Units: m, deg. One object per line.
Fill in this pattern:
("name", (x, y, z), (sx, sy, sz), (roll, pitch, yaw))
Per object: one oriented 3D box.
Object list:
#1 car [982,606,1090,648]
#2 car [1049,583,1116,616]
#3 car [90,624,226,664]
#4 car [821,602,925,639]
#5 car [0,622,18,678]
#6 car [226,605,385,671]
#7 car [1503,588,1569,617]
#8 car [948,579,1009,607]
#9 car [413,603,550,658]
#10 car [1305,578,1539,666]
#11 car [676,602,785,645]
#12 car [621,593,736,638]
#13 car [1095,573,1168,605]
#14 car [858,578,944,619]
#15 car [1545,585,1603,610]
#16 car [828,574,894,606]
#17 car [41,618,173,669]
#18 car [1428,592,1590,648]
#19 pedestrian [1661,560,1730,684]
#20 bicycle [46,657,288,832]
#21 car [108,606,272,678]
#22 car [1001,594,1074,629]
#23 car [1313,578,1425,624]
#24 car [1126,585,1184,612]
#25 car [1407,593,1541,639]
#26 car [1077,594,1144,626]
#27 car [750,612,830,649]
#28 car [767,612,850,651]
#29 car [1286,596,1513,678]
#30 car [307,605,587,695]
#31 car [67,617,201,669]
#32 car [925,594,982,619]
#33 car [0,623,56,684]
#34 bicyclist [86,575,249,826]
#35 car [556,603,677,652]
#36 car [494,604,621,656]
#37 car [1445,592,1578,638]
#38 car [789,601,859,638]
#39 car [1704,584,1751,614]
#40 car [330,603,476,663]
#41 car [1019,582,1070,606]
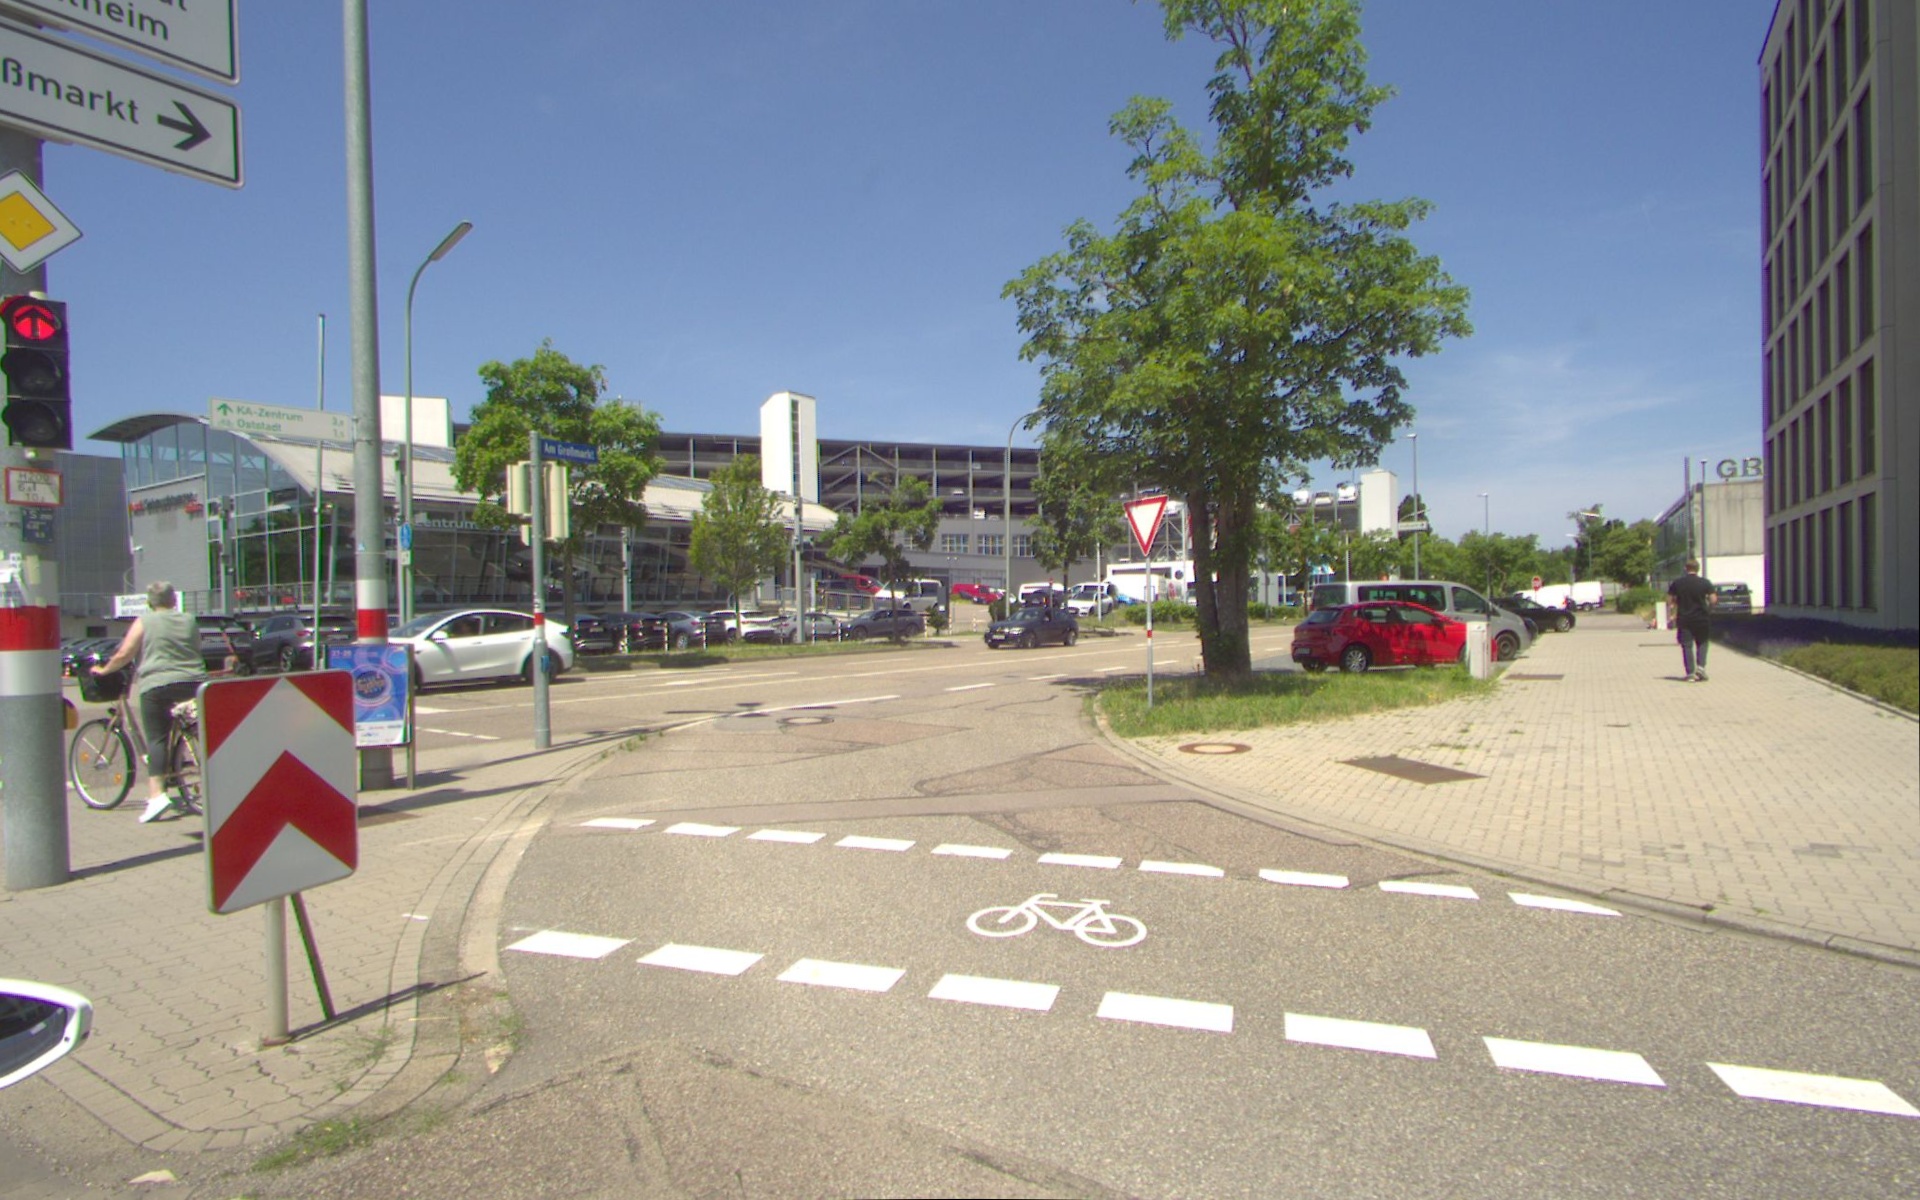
("car", (2.776, 0.923, 35.795), (1.653, 1.429, 4.200), (0, 0, 42))
("car", (7.986, -0.017, 65.238), (3.943, 2.040, 1.840), (-1, 0, 32))
("car", (-33.095, 1.764, 41.415), (1.694, 1.480, 4.083), (0, 0, 33))
("car", (-4.118, 0.937, 47.723), (4.702, 1.662, 1.821), (-1, 1, -35))
("car", (-27.547, 1.374, 25.600), (1.973, 1.476, 4.729), (-2, -1, 34))
("car", (-18.103, 0.991, 27.656), (4.492, 1.661, 1.989), (-1, 0, 32))
("car", (41.701, 0.186, 72.489), (3.949, 2.040, 1.986), (-1, 0, 37))
("car", (1.454, -0.542, 77.871), (4.286, 2.040, 1.990), (-1, 0, 30))
("car", (-15.383, 0.944, 32.159), (4.460, 1.662, 1.881), (-1, 1, 32))
("car", (10.742, 0.492, 23.377), (4.814, 1.839, 1.704), (-2, 0, -10))
("car", (-9.497, 0.940, 41.293), (4.410, 1.662, 1.823), (-1, 1, 32))
("car", (-11.020, 0.581, 39.132), (4.410, 1.662, 1.823), (-1, 1, 32))
("car", (11.804, -0.732, 69.015), (4.578, 2.040, 1.989), (-1, 0, 32))
("car", (-3.108, -0.076, 53.690), (1.972, 2.040, 5.117), (-1, 0, 32))
("car", (55.313, -0.227, 90.223), (4.304, 2.149, 2.080), (-1, 0, 36))
("car", (-6.647, -0.650, 67.291), (3.937, 2.040, 1.992), (-1, 0, 27))
("car", (-37.446, 1.864, 44.046), (1.972, 2.040, 3.977), (-1, 0, 33))
("car", (16.007, 0.568, 29.274), (3.924, 1.483, 1.718), (-1, 0, -8))
("pedestrian", (11.470, 0.338, 15.607), (0.764, 1.869, 0.861), (-2, 0, 40))
("bicycle", (-6.092, 1.037, 7.677), (1.891, 1.142, 0.786), (0, 0, 29))
("car", (-19.604, 1.012, 25.469), (4.207, 1.661, 1.989), (-1, 0, 32))
("car", (4.702, 0.695, 60.575), (3.943, 2.040, 1.989), (-1, 0, 32))
("car", (23.248, 0.060, 57.017), (5.691, 2.567, 2.101), (0, 0, -10))
("car", (15.269, -0.100, 78.435), (3.945, 2.040, 1.988), (-1, 0, 34))
("car", (18.139, 0.555, 35.425), (3.923, 1.483, 1.719), (-1, 0, -6))
("car", (10.033, 0.689, 66.847), (3.943, 2.040, 1.989), (-1, 0, 32))
("car", (-8.735, 1.536, 51.551), (3.712, 1.795, 1.761), (-1, 0, -28))
("car", (-7.449, 1.508, 49.278), (3.660, 1.801, 1.739), (-1, 0, -31))
("car", (8.795, 0.716, 20.177), (3.924, 1.454, 1.609), (-2, 0, -8))
("car", (-10.197, 0.906, 20.248), (1.975, 1.609, 4.662), (-1, 0, 38))
("car", (-35.069, 1.777, 42.613), (1.972, 2.040, 3.977), (-1, 0, 33))
("car", (-0.499, 0.506, 74.230), (3.943, 1.810, 1.730), (-1, 0, 32))
("car", (-25.232, 1.349, 24.165), (1.973, 1.476, 4.729), (0, 0, 34))
("bicyclist", (-5.998, 0.722, 7.594), (0.742, 1.772, 0.733), (0, 0, 28))
("car", (-12.600, 0.989, 36.694), (4.410, 1.662, 1.823), (-1, 1, 32))
("car", (-13.921, 0.997, 34.579), (4.410, 1.662, 1.823), (-1, 1, 32))
("car", (21.334, 0.590, 38.865), (4.075, 1.558, 1.815), (-3, -1, 2))
("car", (-7.842, 1.099, 58.141), (1.839, 2.040, 3.733), (-1, 0, 41))
("car", (41.798, -0.043, 54.595), (1.765, 1.542, 3.556), (-2, 0, 33))
("car", (-16.779, 0.944, 30.132), (4.377, 1.661, 1.989), (-1, 1, 32))
("car", (7.755, -0.554, 92.306), (4.257, 2.040, 1.989), (-1, 0, 32))
